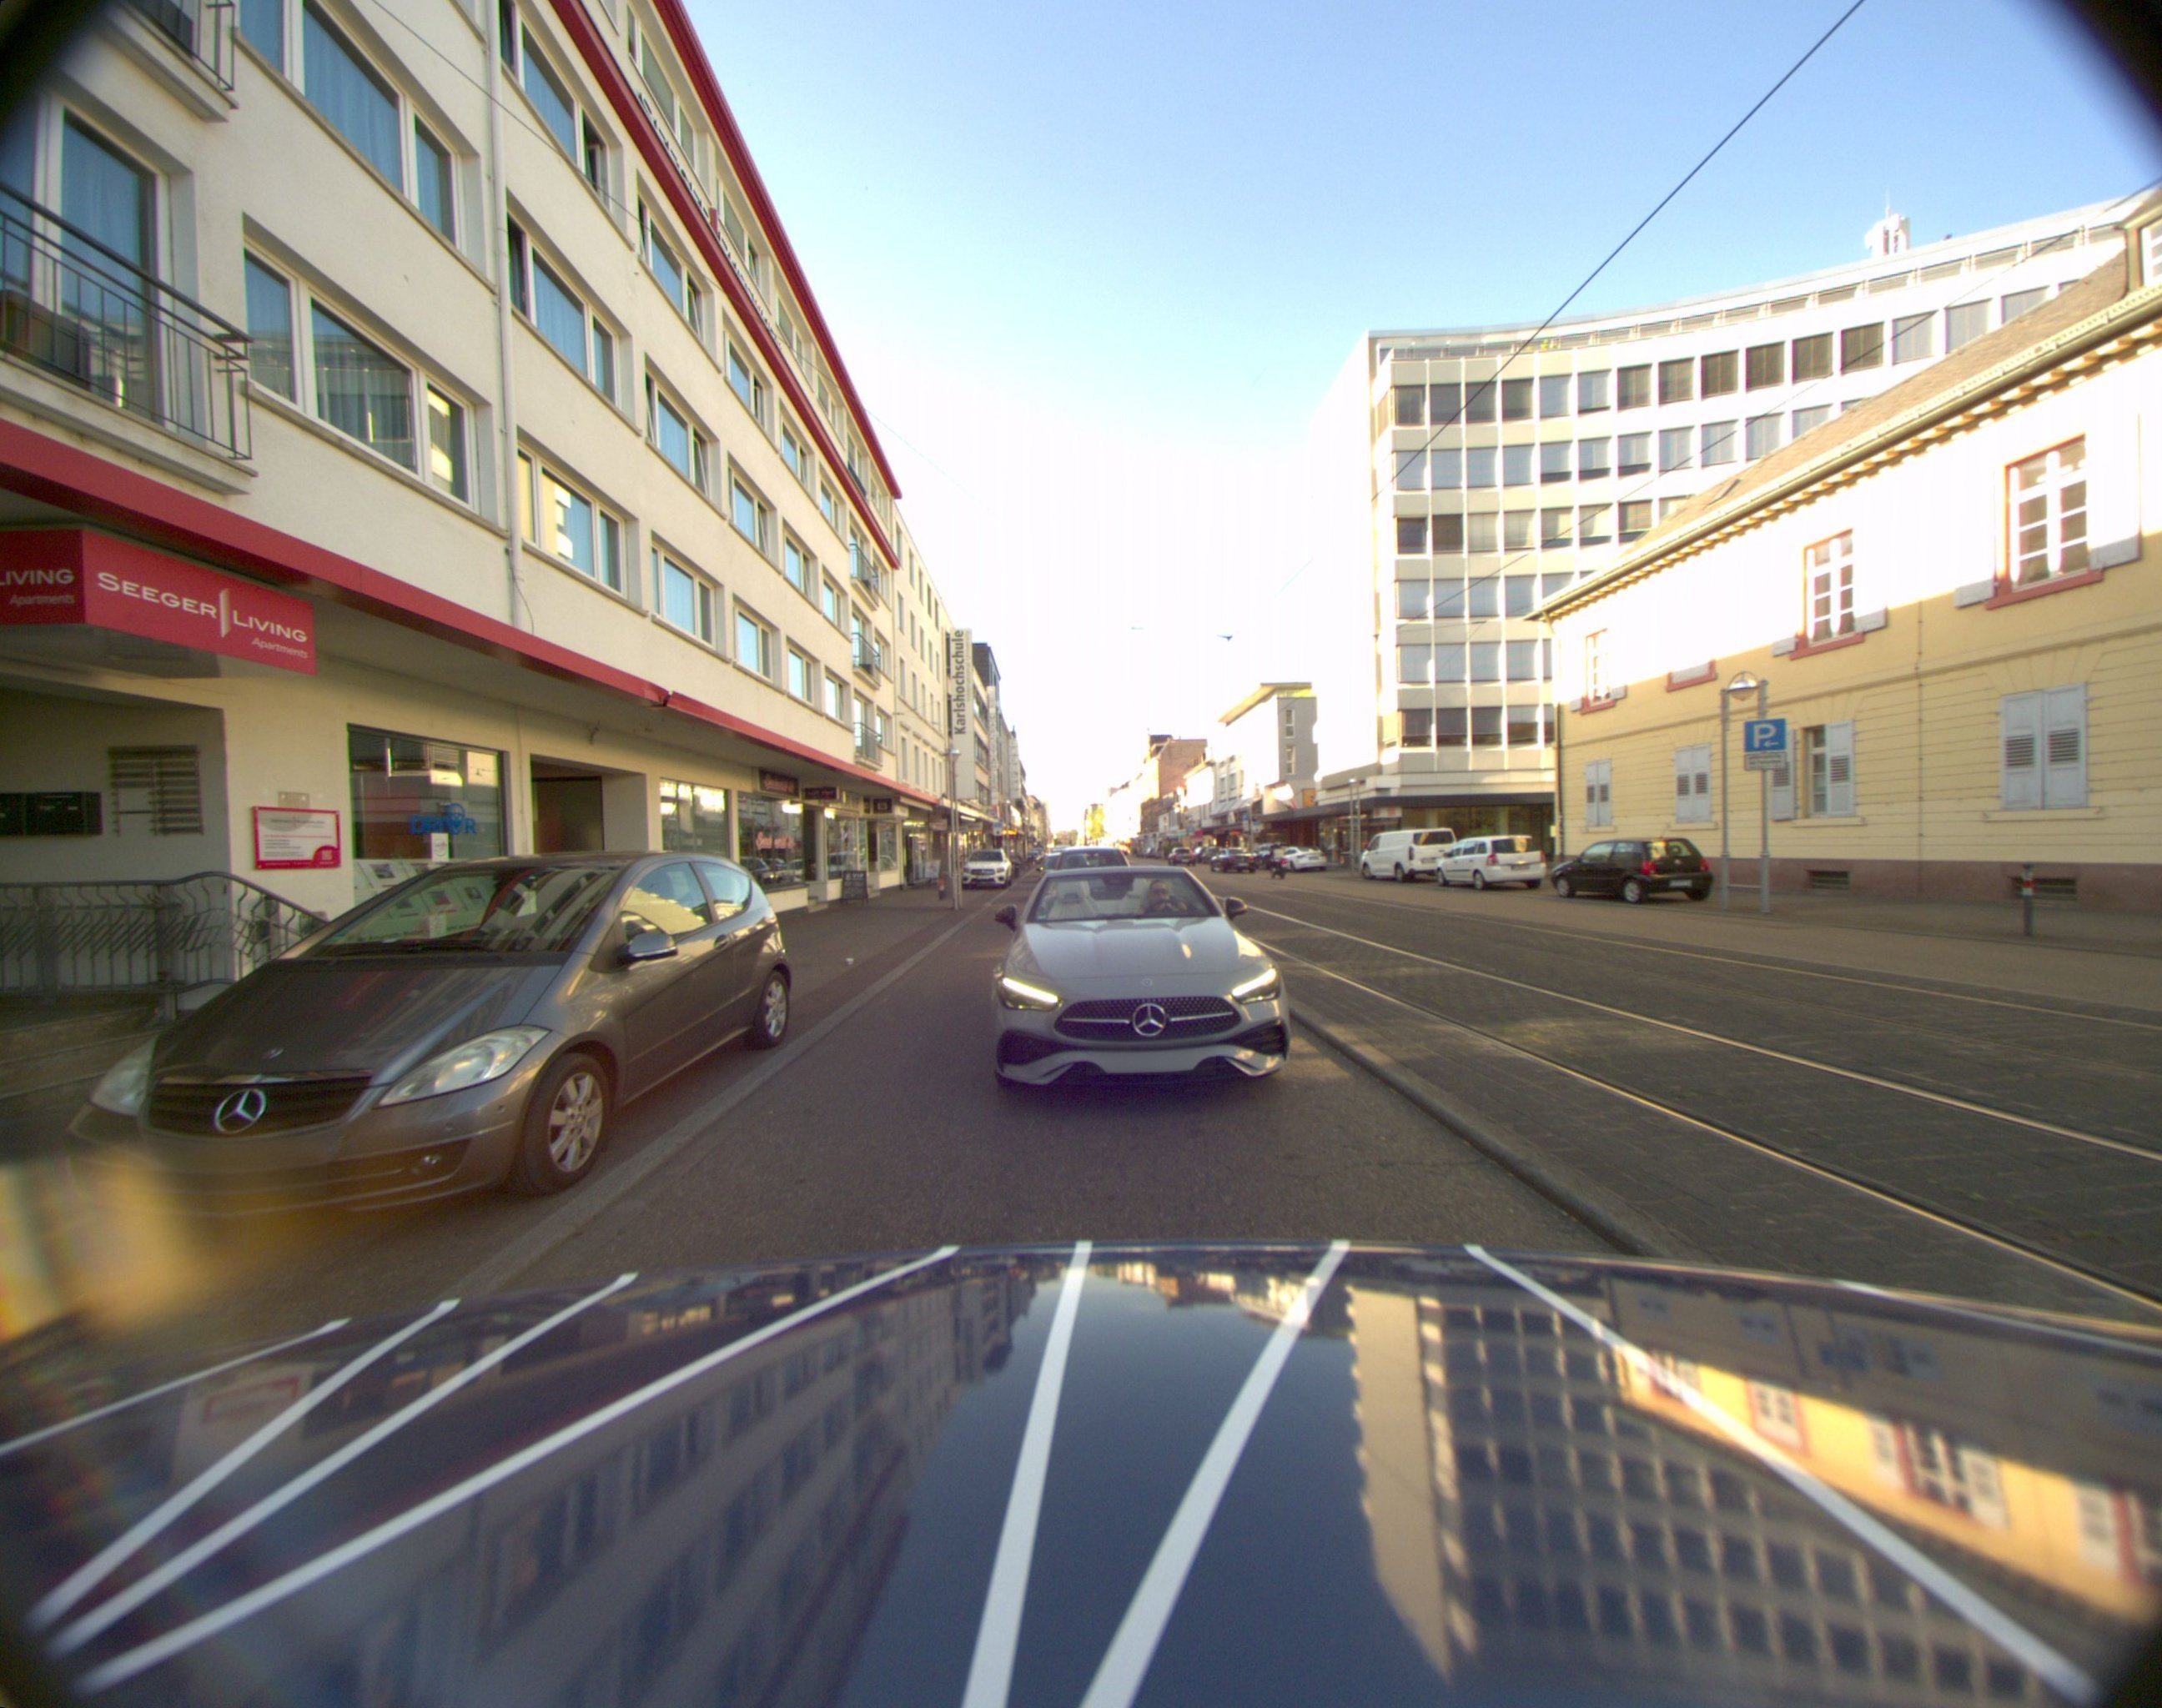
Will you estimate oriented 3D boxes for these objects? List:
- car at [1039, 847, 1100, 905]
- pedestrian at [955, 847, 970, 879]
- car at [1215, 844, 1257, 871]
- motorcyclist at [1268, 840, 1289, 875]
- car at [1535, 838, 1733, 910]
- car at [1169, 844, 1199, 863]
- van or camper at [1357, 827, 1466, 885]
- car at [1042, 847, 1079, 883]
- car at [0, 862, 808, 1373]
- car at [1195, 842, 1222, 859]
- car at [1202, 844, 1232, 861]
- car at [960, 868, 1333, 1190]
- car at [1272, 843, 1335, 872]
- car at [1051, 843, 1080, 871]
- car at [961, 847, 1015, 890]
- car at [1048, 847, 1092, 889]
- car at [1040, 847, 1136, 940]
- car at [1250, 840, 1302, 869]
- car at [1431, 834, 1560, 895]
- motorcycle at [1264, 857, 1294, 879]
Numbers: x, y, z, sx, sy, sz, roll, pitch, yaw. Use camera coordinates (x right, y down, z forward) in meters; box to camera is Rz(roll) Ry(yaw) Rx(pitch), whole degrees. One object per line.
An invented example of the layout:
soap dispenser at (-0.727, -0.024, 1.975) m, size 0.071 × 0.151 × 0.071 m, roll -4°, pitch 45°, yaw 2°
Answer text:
car at (-0.348, 0.617, 24.329) m, size 1.783 × 1.654 × 3.960 m, roll 0°, pitch 1°, yaw 0°
pedestrian at (-6.858, 0.541, 44.076) m, size 0.706 × 1.807 × 0.807 m, roll -2°, pitch 2°, yaw -3°
car at (8.937, 0.169, 44.190) m, size 1.781 × 1.501 × 4.670 m, roll 0°, pitch 1°, yaw 4°
motorcyclist at (9.062, 0.136, 34.892) m, size 0.654 × 1.550 × 0.883 m, roll -2°, pitch 2°, yaw -7°
car at (12.906, 0.388, 18.079) m, size 1.781 × 1.431 × 3.960 m, roll -3°, pitch 1°, yaw 0°
car at (8.148, -0.063, 60.607) m, size 1.781 × 1.501 × 3.859 m, roll -1°, pitch 1°, yaw -2°
van or camper at (12.643, 0.022, 29.444) m, size 1.960 × 1.962 × 4.795 m, roll -3°, pitch 1°, yaw -2°
car at (-0.971, 0.488, 37.984) m, size 1.737 × 1.654 × 3.780 m, roll 0°, pitch 1°, yaw 0°
car at (-3.209, 0.893, 4.472) m, size 1.781 × 1.560 × 3.960 m, roll 0°, pitch 1°, yaw 0°
car at (11.963, -0.327, 71.667) m, size 1.786 × 1.511 × 3.832 m, roll -2°, pitch 1°, yaw -1°
car at (11.829, -0.165, 66.246) m, size 1.786 × 1.409 × 3.596 m, roll -2°, pitch 1°, yaw -3°
car at (0.317, 0.928, 6.212) m, size 1.869 × 1.431 × 4.773 m, roll 0°, pitch 1°, yaw 0°
car at (12.380, 0.154, 42.613) m, size 1.931 × 1.444 × 4.291 m, roll -4°, pitch 1°, yaw -5°
car at (-0.932, 0.141, 46.965) m, size 1.737 × 1.654 × 3.960 m, roll 0°, pitch 1°, yaw 0°
car at (-3.849, 0.559, 32.049) m, size 1.783 × 1.654 × 4.162 m, roll 0°, pitch 1°, yaw 0°
car at (-0.449, 0.549, 32.604) m, size 1.737 × 1.654 × 3.960 m, roll 0°, pitch 1°, yaw 0°
car at (0.114, 0.708, 15.876) m, size 1.737 × 1.654 × 3.960 m, roll 0°, pitch 1°, yaw 0°
car at (12.281, -0.018, 48.138) m, size 1.931 × 1.632 × 4.280 m, roll -3°, pitch 1°, yaw -3°
car at (12.758, 0.254, 23.720) m, size 1.781 × 1.611 × 4.175 m, roll -3°, pitch 1°, yaw 2°
motorcycle at (9.073, 0.629, 34.947) m, size 0.601 × 0.921 × 2.154 m, roll -2°, pitch 1°, yaw -6°
